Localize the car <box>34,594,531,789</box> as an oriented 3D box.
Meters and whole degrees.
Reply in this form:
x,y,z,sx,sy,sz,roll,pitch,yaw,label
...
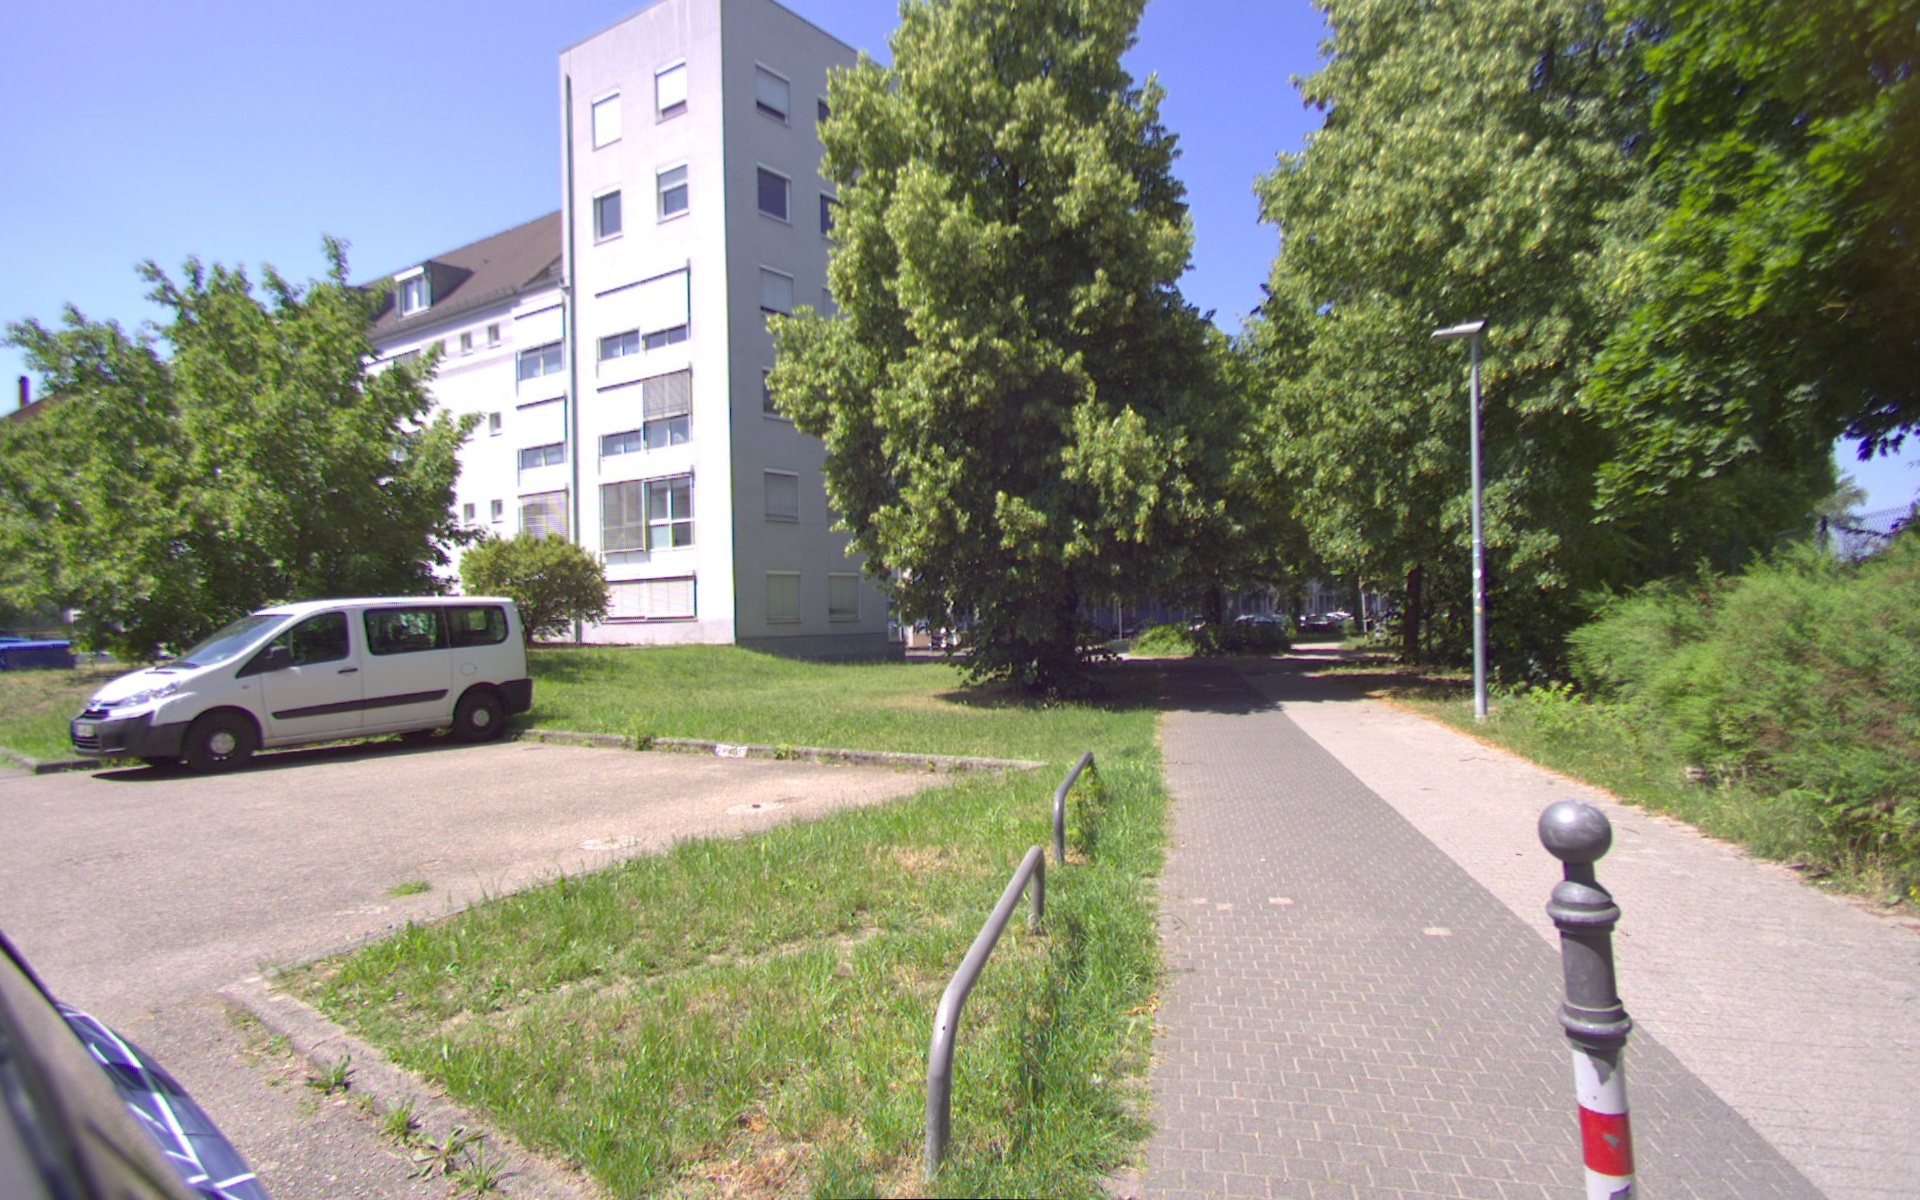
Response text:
x,y,z,sx,sy,sz,roll,pitch,yaw,label
-8.067,0.978,12.568,1.994,1.926,4.749,-3,-2,33,car

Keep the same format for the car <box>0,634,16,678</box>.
x,y,z,sx,sy,sz,roll,pitch,yaw,label
-42.534,2.442,42.160,1.996,1.846,4.398,-2,-1,35,car

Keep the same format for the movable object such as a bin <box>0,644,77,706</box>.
x,y,z,sx,sy,sz,roll,pitch,yaw,label
-21.246,1.701,23.278,1.103,1.338,1.242,-3,-1,38,movable object such as a bin

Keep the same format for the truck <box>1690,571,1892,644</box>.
x,y,z,sx,sy,sz,roll,pitch,yaw,label
24.428,0.249,29.916,4.455,2.009,1.973,-1,-1,40,truck

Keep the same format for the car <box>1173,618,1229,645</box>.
x,y,z,sx,sy,sz,roll,pitch,yaw,label
15.512,1.984,65.132,1.974,1.630,4.117,-2,-1,38,car

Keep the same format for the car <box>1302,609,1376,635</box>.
x,y,z,sx,sy,sz,roll,pitch,yaw,label
19.884,1.163,53.070,3.479,1.253,1.738,-2,-1,24,car

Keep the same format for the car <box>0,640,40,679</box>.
x,y,z,sx,sy,sz,roll,pitch,yaw,label
-40.188,2.469,40.911,1.854,1.565,4.123,-2,-1,33,car

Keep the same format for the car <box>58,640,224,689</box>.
x,y,z,sx,sy,sz,roll,pitch,yaw,label
-26.883,2.070,33.344,1.707,1.447,3.953,-2,-2,34,car

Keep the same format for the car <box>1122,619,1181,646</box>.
x,y,z,sx,sy,sz,roll,pitch,yaw,label
12.158,2.035,64.108,1.974,1.630,4.117,-2,-1,38,car

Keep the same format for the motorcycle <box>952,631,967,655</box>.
x,y,z,sx,sy,sz,roll,pitch,yaw,label
-0.056,2.207,51.988,0.690,1.176,2.333,-1,-1,-1,motorcycle

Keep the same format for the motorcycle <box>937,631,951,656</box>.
x,y,z,sx,sy,sz,roll,pitch,yaw,label
-0.815,2.218,51.937,0.690,1.176,2.311,-1,-1,-1,motorcycle

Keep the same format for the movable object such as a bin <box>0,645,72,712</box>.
x,y,z,sx,sy,sz,roll,pitch,yaw,label
-20.091,1.669,21.817,1.103,1.338,1.242,-3,-1,38,movable object such as a bin

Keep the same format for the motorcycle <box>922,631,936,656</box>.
x,y,z,sx,sy,sz,roll,pitch,yaw,label
-1.576,2.204,51.815,0.690,1.176,2.304,-1,-1,-1,motorcycle
